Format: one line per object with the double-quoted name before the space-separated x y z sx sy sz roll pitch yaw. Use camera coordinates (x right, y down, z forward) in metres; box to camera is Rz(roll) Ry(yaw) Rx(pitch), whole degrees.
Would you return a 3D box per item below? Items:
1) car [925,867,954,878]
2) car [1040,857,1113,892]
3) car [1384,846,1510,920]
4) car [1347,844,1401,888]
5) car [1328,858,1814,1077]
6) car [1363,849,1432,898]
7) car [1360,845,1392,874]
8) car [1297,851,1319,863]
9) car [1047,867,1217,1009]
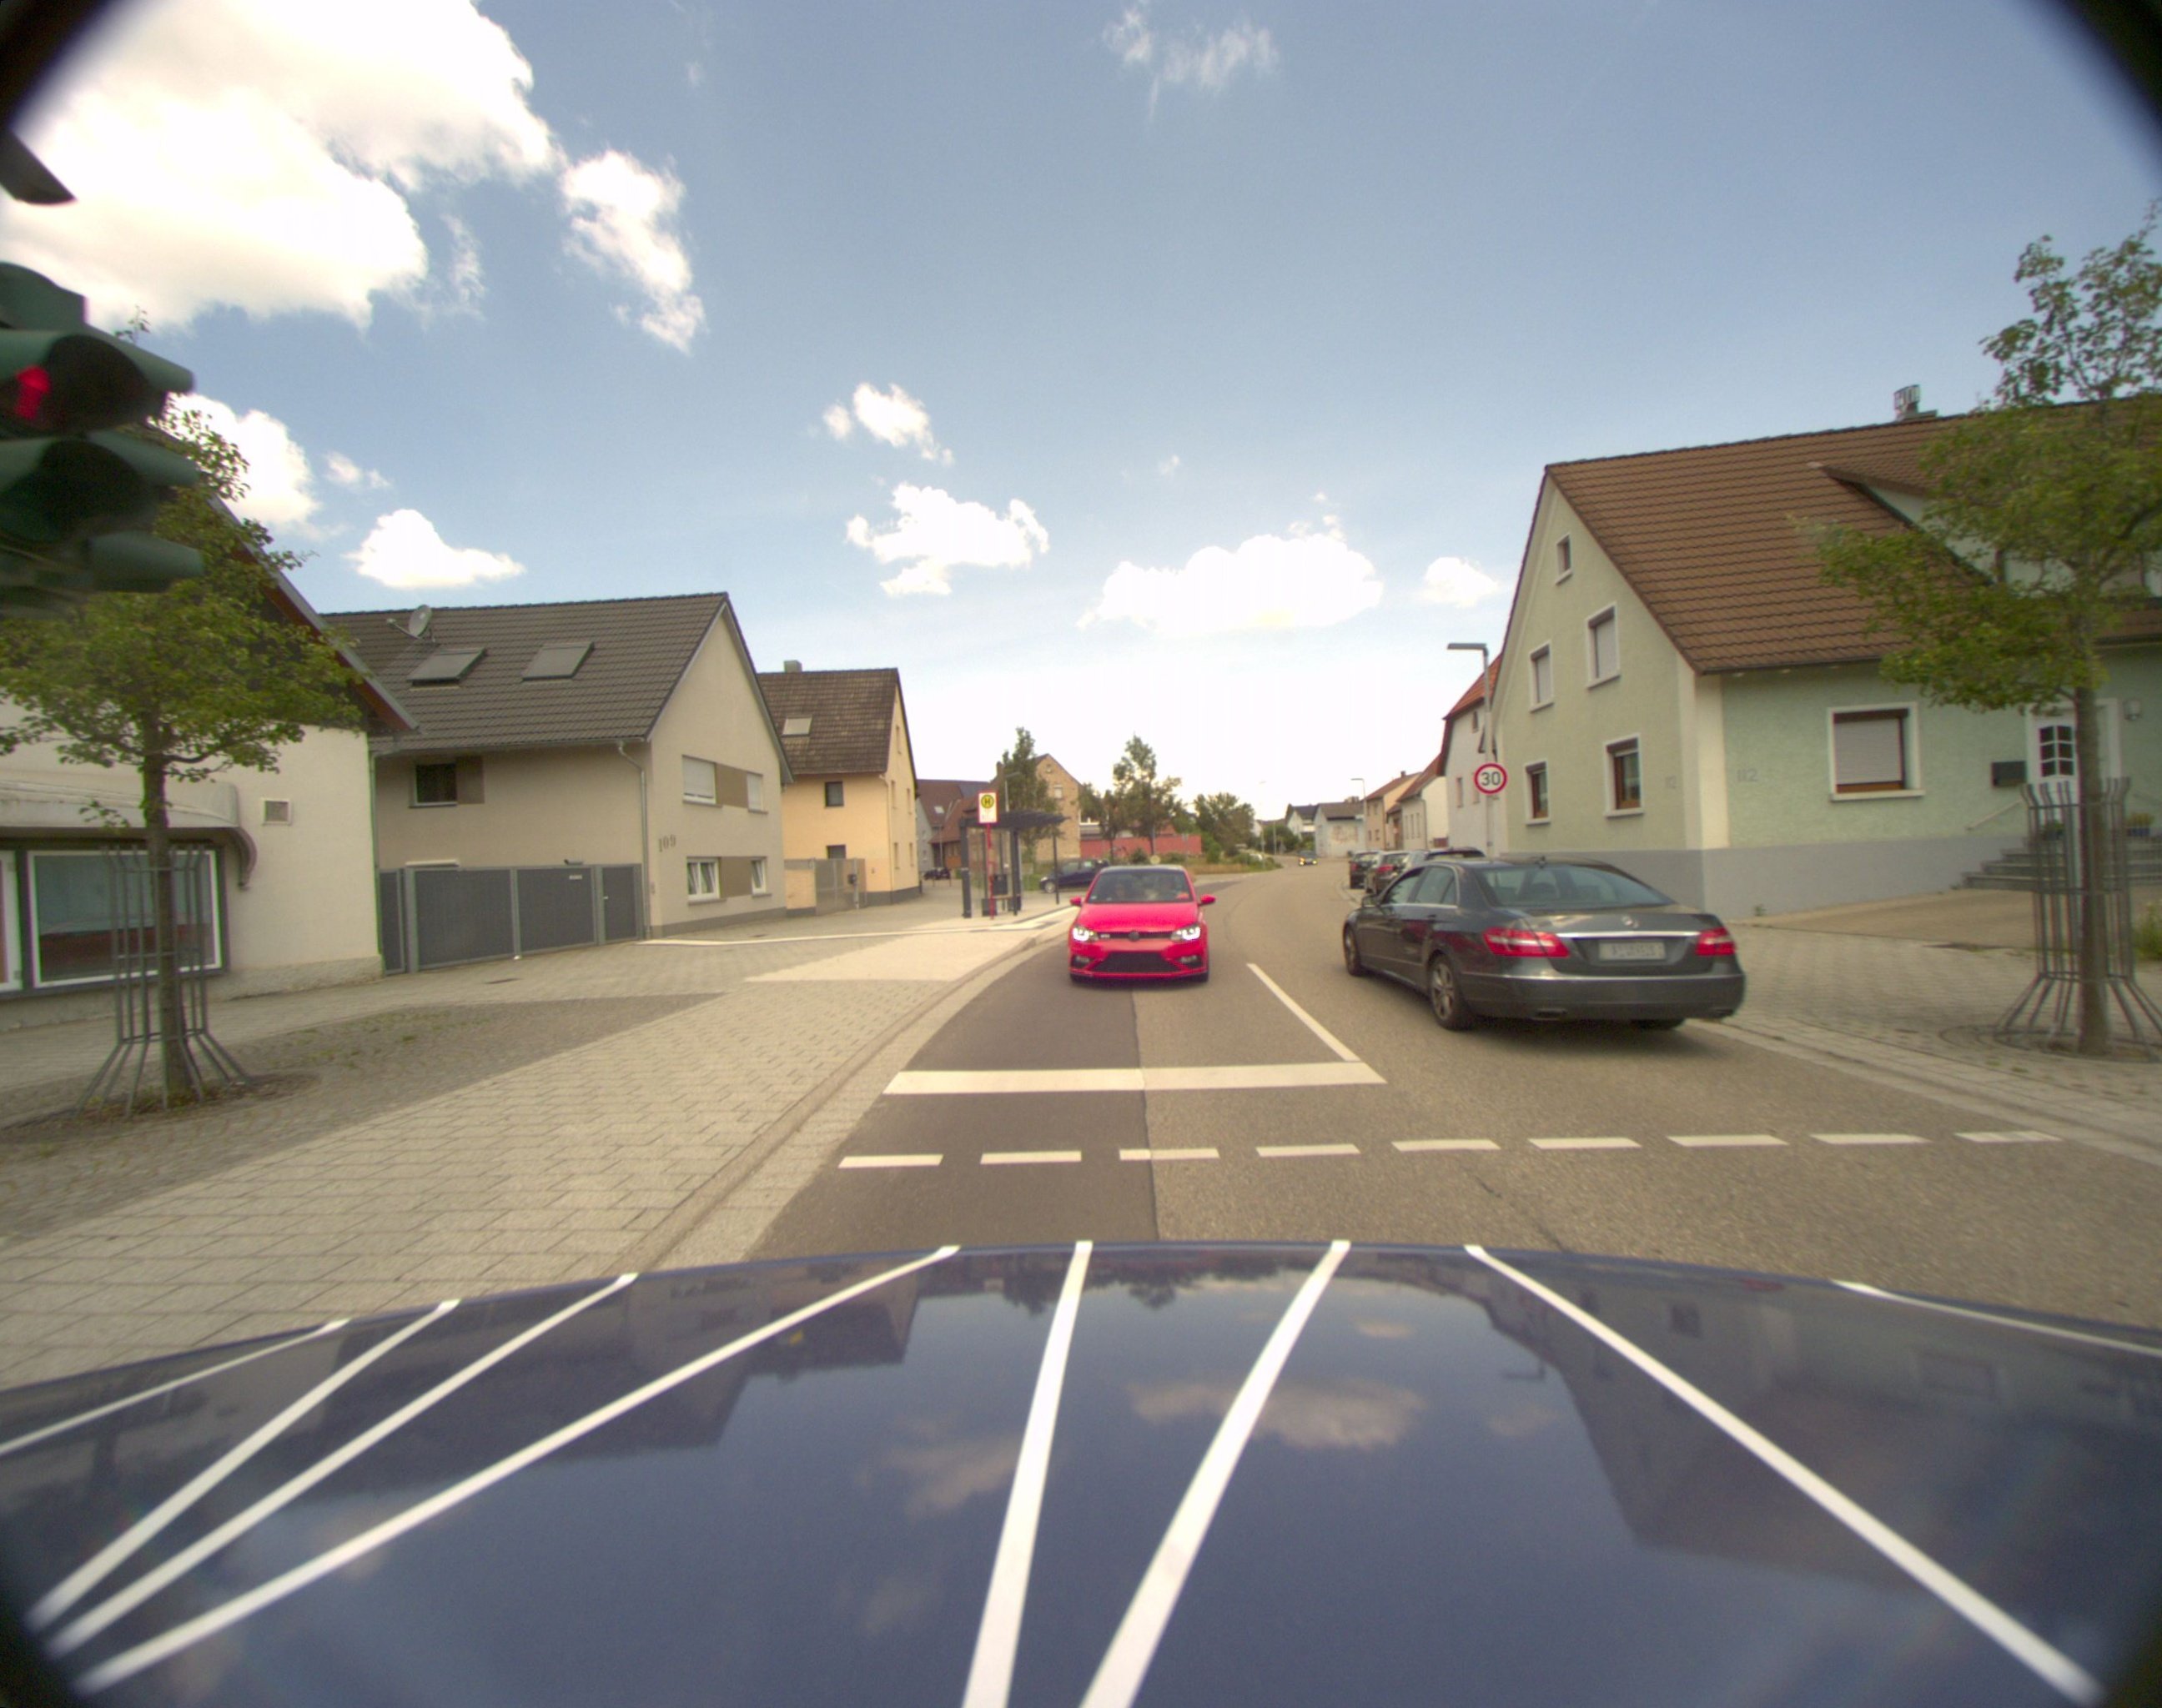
"car" -15.394 1.985 82.601 1.806 1.053 3.991 -2 0 -32
"car" -0.181 1.015 38.436 3.547 1.583 1.667 -3 0 1
"car" 8.545 0.605 18.154 1.735 1.482 4.504 -2 0 13
"car" 11.479 0.440 29.959 1.657 1.553 3.696 -2 0 17
"car" 3.967 0.768 7.315 1.888 1.426 4.597 -1 0 3
"car" 10.094 0.576 24.438 1.657 1.388 3.696 -2 0 17
"car" 17.703 0.288 45.554 1.657 1.565 3.697 -2 1 23
"car" 24.628 0.272 82.514 1.997 1.182 4.003 -2 1 12
"car" 0.661 0.947 10.132 1.782 1.403 3.888 -2 0 3
